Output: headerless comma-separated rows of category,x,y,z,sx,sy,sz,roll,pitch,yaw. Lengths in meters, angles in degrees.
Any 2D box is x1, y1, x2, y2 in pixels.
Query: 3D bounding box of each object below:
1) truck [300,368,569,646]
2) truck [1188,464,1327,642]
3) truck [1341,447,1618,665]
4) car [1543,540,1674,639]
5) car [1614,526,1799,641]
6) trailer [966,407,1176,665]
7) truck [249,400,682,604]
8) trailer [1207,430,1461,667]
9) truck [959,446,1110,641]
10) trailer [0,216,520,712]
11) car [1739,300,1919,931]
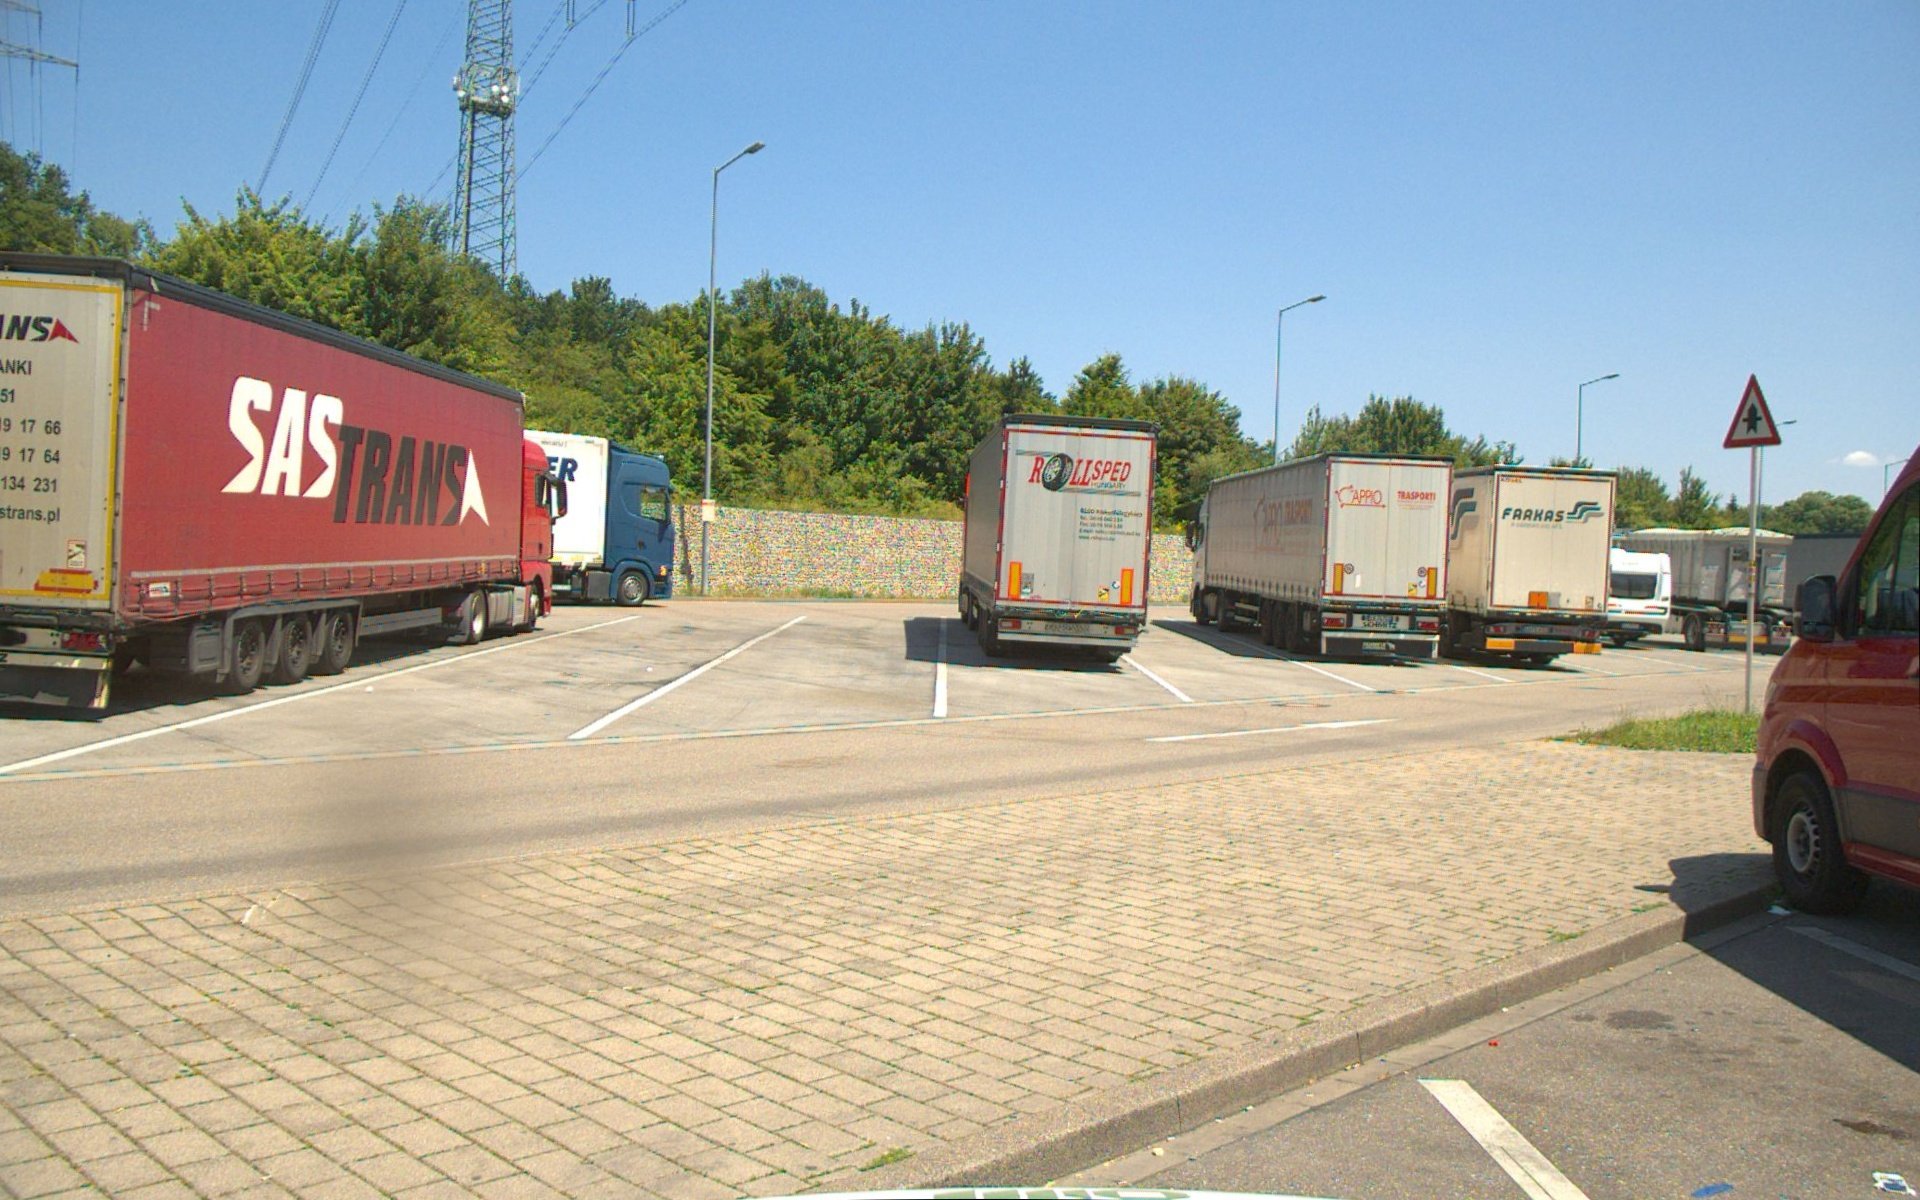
truck,-8.723,-1.472,28.229,2.749,4.205,5.893,1,1,-1
truck,8.026,-1.254,45.254,2.607,4.530,5.863,1,1,-1
truck,11.719,-0.844,38.885,2.534,4.299,11.967,1,0,-1
car,18.238,-0.282,46.726,2.072,2.645,3.999,1,0,-1
car,21.703,-0.512,48.485,2.448,3.128,6.350,1,1,-1
trailer,1.802,-1.130,32.158,2.839,4.083,11.313,1,1,-2
truck,-11.263,-2.067,38.923,2.203,4.104,9.989,2,0,43
trailer,8.178,-1.105,38.321,2.627,4.530,12.826,1,1,-1
truck,1.568,-1.240,37.768,2.814,4.050,6.026,1,1,-3
trailer,-8.635,-1.314,20.973,2.743,4.293,13.200,1,1,-1
car,4.985,0.098,5.569,1.952,2.679,6.385,1,1,3
